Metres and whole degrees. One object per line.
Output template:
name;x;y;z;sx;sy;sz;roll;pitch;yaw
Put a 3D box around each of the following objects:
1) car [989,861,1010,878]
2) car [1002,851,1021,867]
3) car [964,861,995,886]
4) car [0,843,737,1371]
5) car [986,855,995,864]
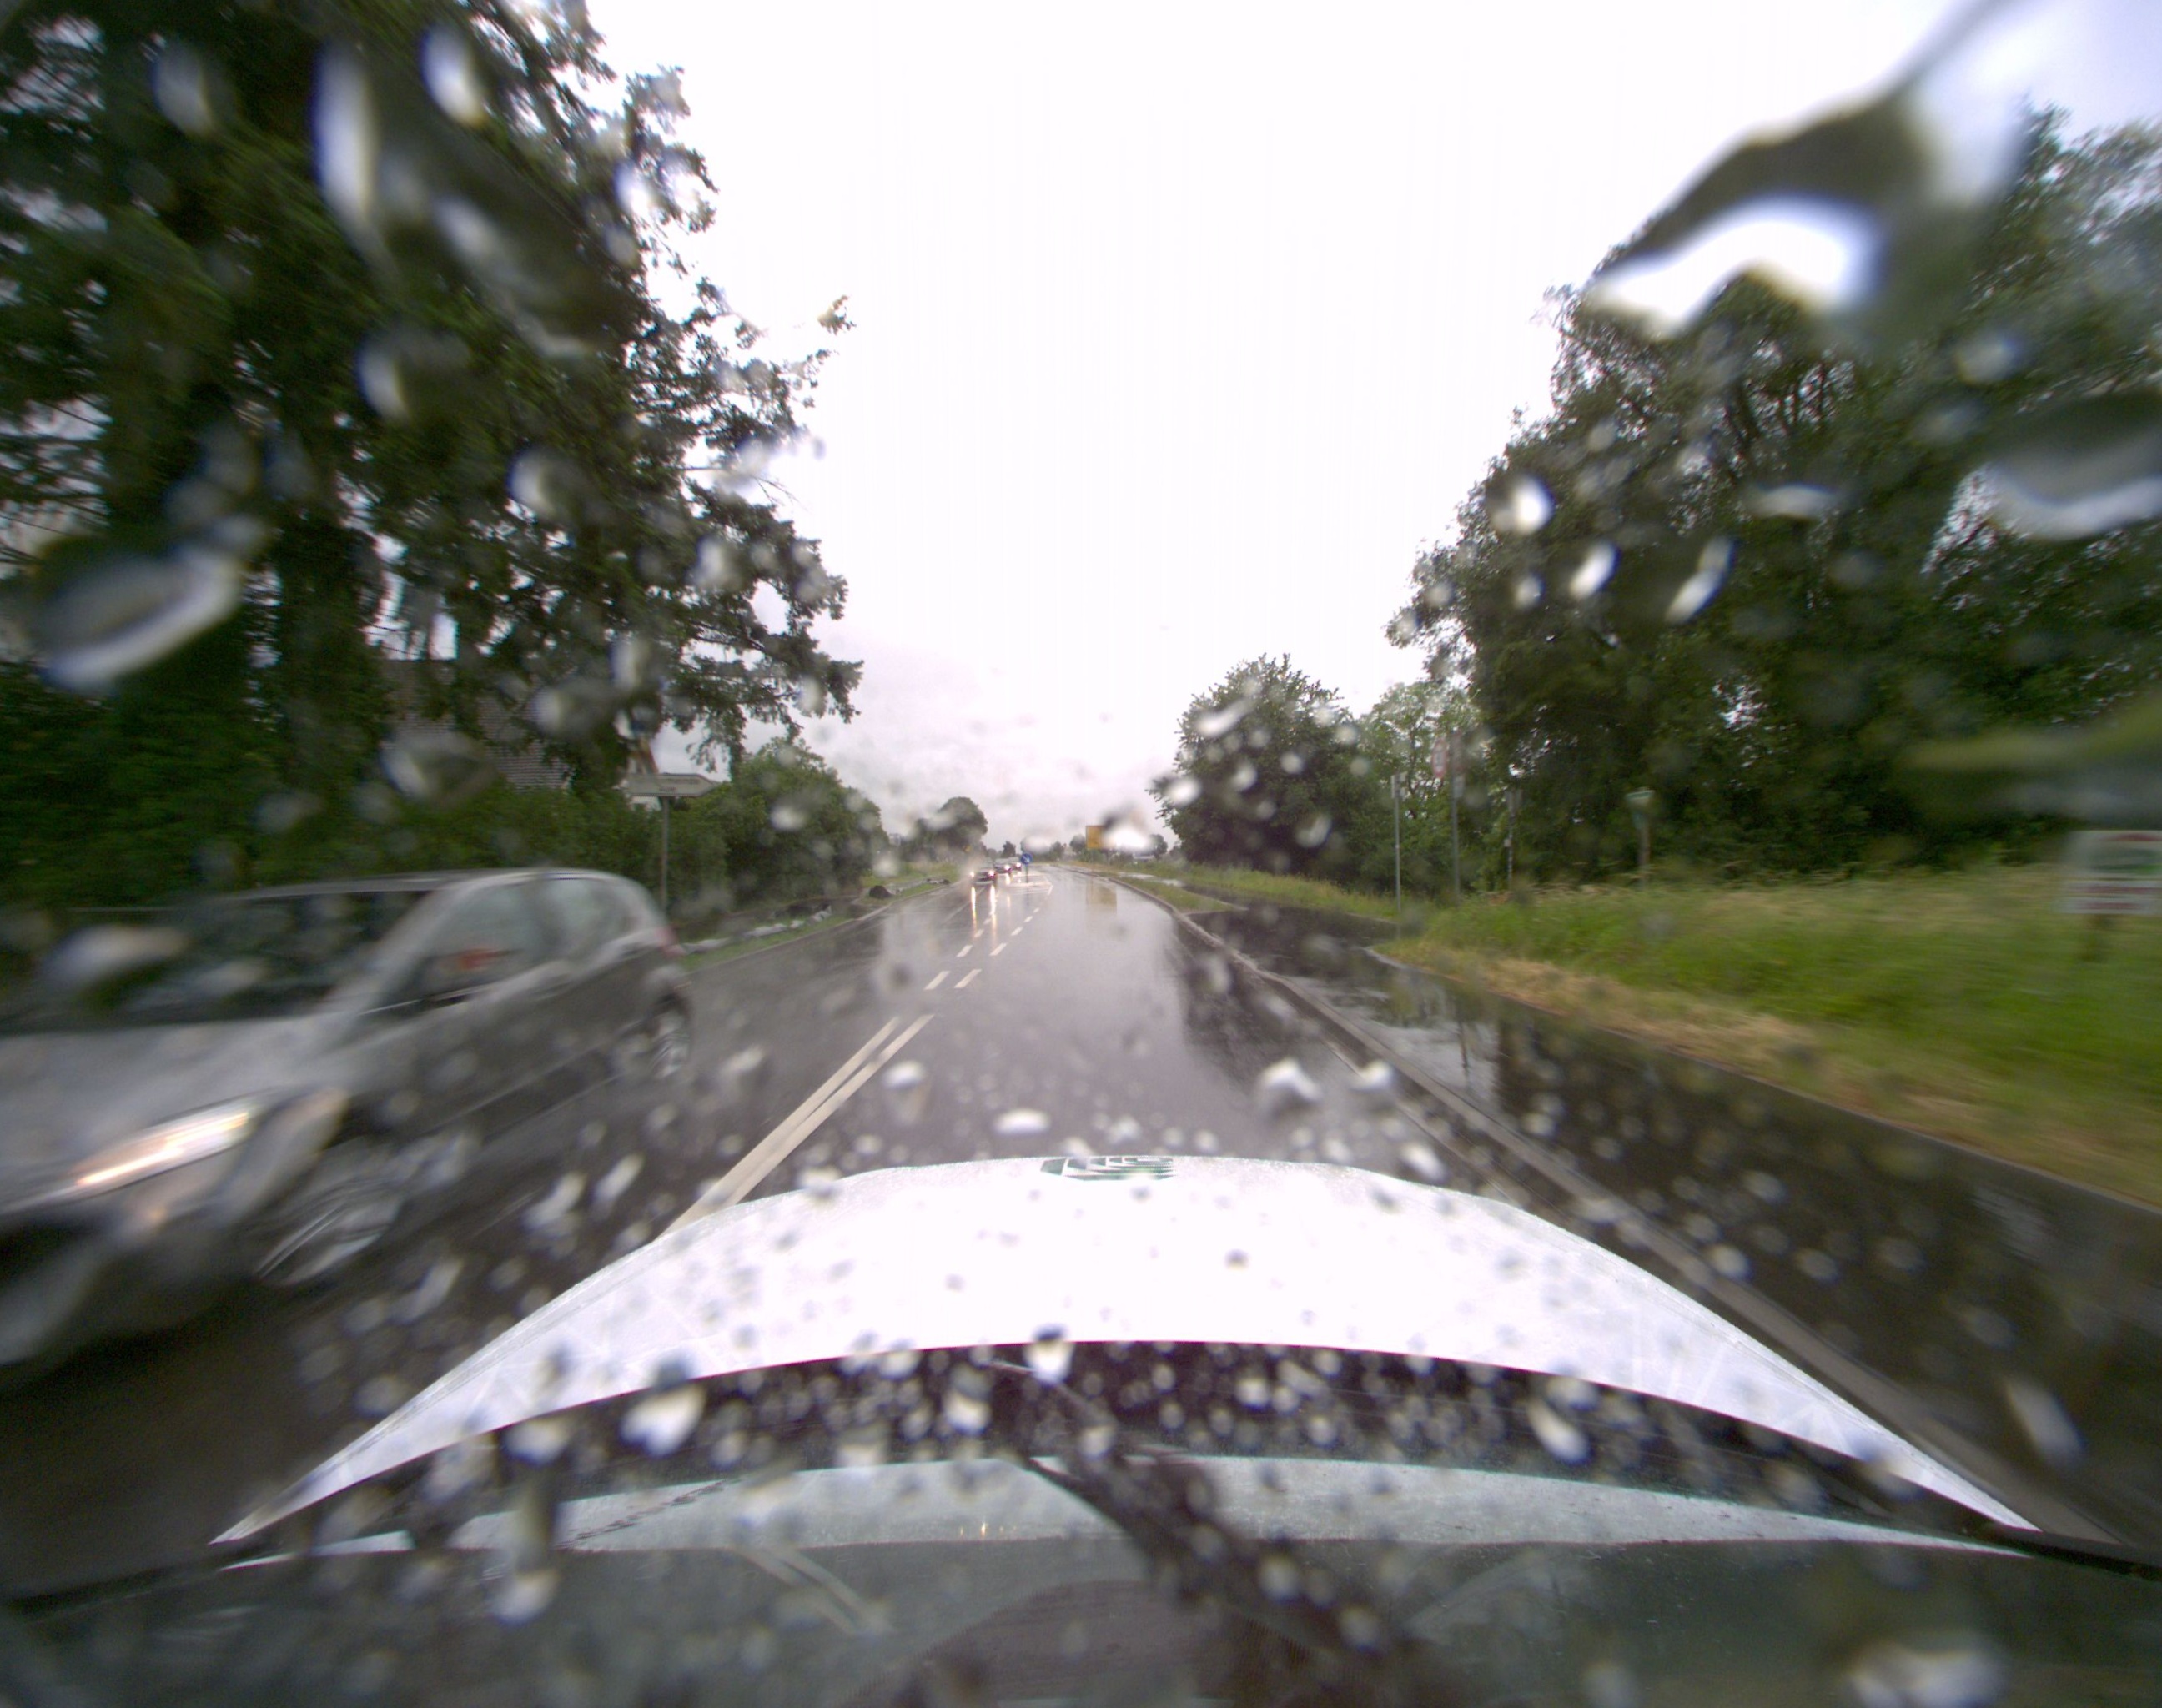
car;-7.497;1.390;74.829;1.739;1.445;3.675;-3;0;-6
car;-7.978;0.563;93.481;1.741;1.718;4.252;-3;0;-10
car;-6.221;1.186;50.283;1.680;1.382;4.216;-3;0;-5
car;-3.606;0.787;4.428;1.755;1.552;3.998;-3;0;-1
car;-20.835;1.275;187.579;1.991;1.972;4.946;2;0;-6
